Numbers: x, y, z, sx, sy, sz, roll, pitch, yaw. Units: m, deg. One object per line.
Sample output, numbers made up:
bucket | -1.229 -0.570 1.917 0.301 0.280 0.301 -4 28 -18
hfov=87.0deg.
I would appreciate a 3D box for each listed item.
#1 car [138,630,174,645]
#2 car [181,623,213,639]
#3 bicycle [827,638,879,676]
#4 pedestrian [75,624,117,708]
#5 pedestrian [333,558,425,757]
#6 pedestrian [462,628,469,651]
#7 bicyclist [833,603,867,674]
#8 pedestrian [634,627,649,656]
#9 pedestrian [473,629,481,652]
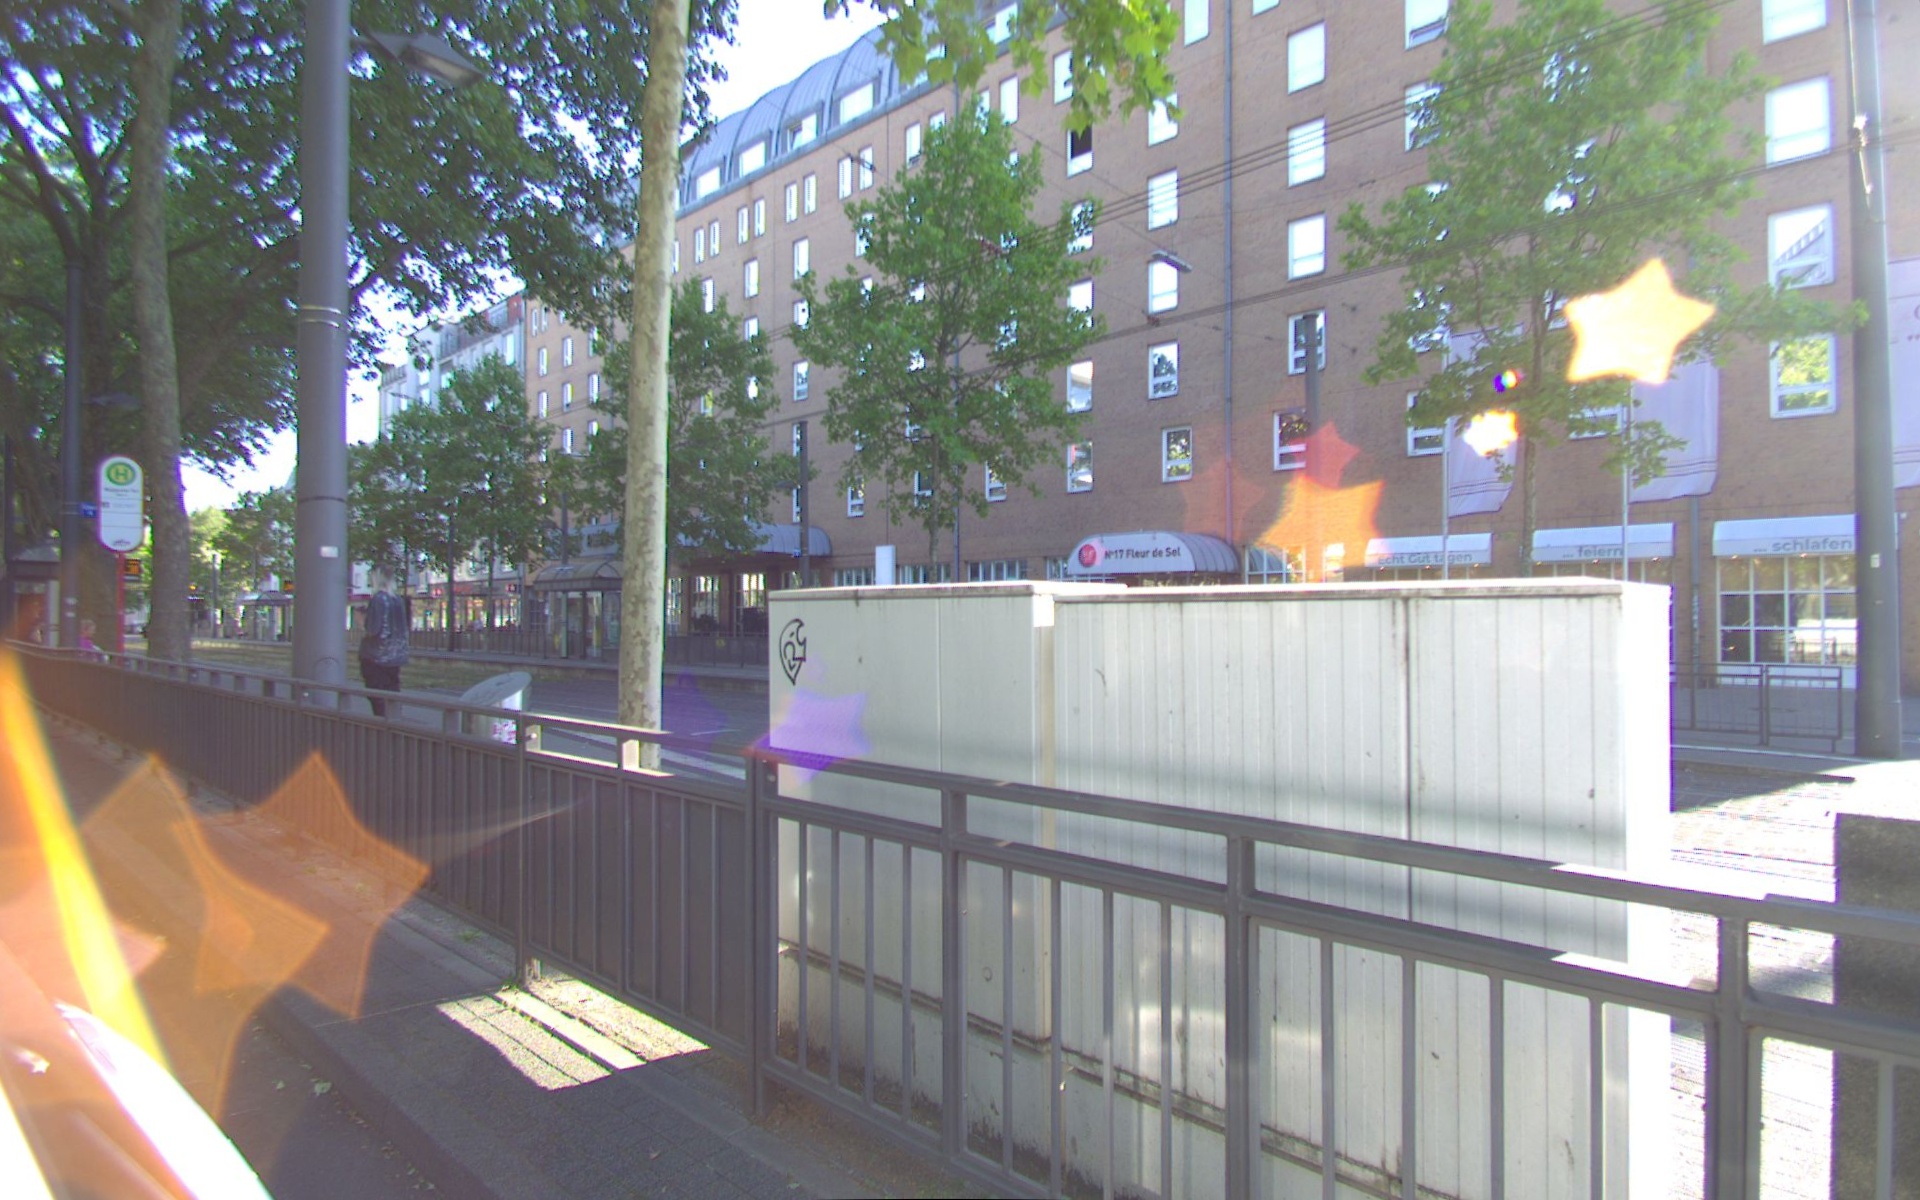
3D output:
car | -84.513 3.968 106.375 3.993 1.530 1.975 -1 -2 37
car | -81.607 3.330 108.229 3.998 1.719 1.972 -1 -2 42
bicycle | -2.979 1.566 28.058 0.444 1.012 1.754 2 -2 -44
pedestrian | -13.964 1.057 16.359 0.493 1.325 0.419 1 -2 -41
pedestrian | -5.790 0.545 10.086 0.622 1.897 0.598 1 0 39
pedestrian | -33.182 2.656 67.913 0.431 1.518 0.660 1 -2 -27
bicyclist | -3.039 1.055 28.031 0.564 1.918 0.814 2 -2 -43
pedestrian | -15.993 2.089 50.800 0.516 1.447 0.512 -2 -2 44
pedestrian | -32.579 2.725 68.237 0.431 1.532 0.660 1 -2 -27
